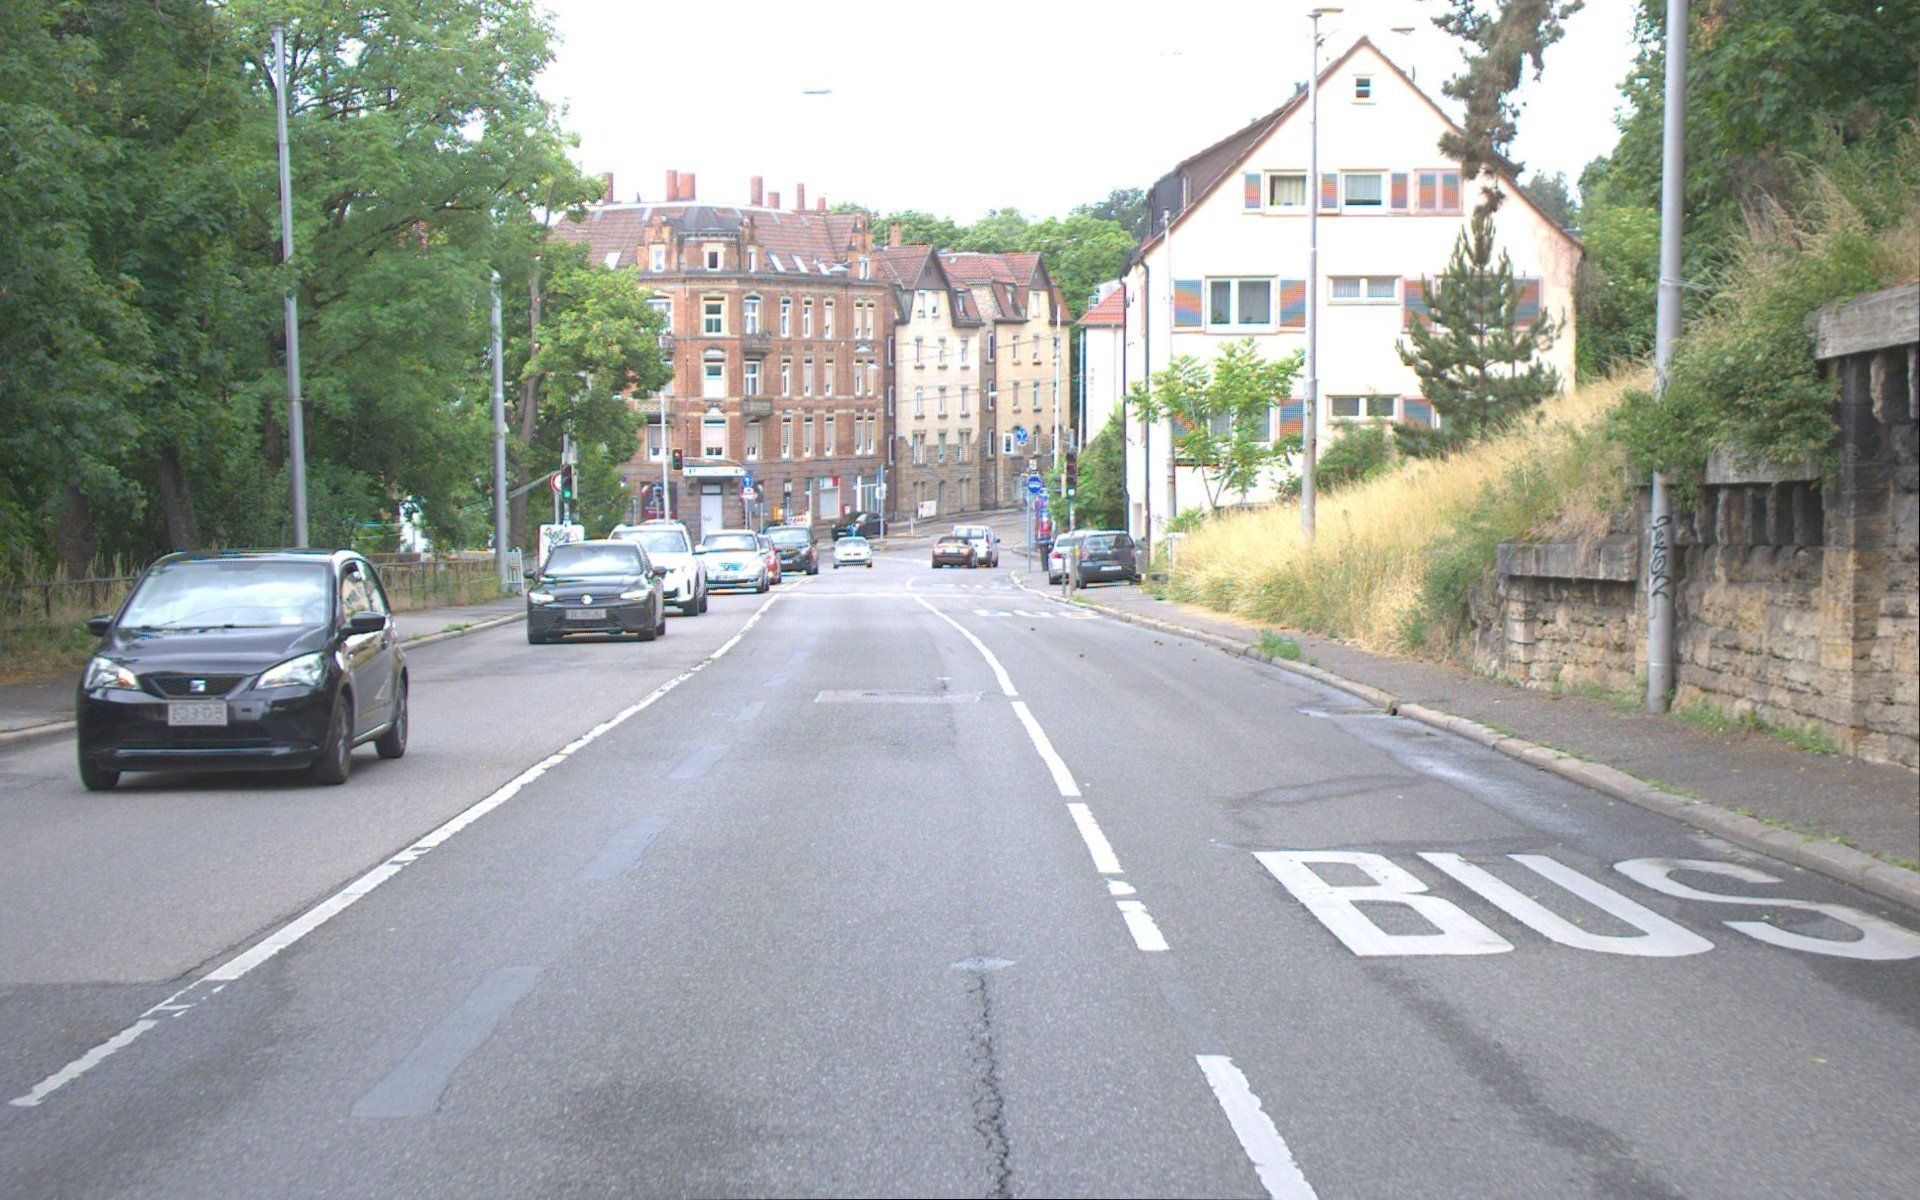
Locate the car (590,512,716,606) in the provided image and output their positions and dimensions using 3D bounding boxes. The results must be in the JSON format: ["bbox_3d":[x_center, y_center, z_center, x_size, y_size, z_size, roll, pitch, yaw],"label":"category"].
[{"bbox_3d":[-5.771,-0.806,65.139,1.995,1.677,4.664,-1,1,-1],"label":"car"}]

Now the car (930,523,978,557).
[{"bbox_3d":[-0.250,-2.655,150.700,1.816,1.425,4.000,1,1,4],"label":"car"}]

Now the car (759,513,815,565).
[{"bbox_3d":[-6.091,-2.158,121.316,1.784,1.740,4.429,-1,1,-1],"label":"car"}]

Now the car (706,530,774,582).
[{"bbox_3d":[-6.437,-1.317,100.848,1.783,1.454,4.429,-1,1,-1],"label":"car"}]

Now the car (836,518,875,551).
[{"bbox_3d":[-4.794,-3.011,158.013,1.720,1.440,4.159,-2,1,-1],"label":"car"}]

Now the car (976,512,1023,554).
[{"bbox_3d":[1.819,-3.061,157.320,1.909,1.877,4.000,1,1,4],"label":"car"}]

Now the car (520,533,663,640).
[{"bbox_3d":[-5.229,-0.223,49.211,1.712,1.422,4.139,-1,1,-2],"label":"car"}]

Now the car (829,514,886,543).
[{"bbox_3d":[-5.927,-4.141,199.576,1.983,1.569,4.372,-2,1,17],"label":"car"}]

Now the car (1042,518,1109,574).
[{"bbox_3d":[3.341,-1.579,99.207,1.794,1.446,4.718,-4,2,2],"label":"car"}]

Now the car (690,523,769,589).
[{"bbox_3d":[-5.758,-1.109,86.235,1.783,1.569,4.281,-1,1,-1],"label":"car"}]

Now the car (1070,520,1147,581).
[{"bbox_3d":[3.880,-1.296,90.265,1.681,1.446,4.000,-4,1,-1],"label":"car"}]

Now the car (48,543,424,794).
[{"bbox_3d":[-4.616,0.379,22.409,1.669,1.442,3.688,-1,1,0],"label":"car"}]
